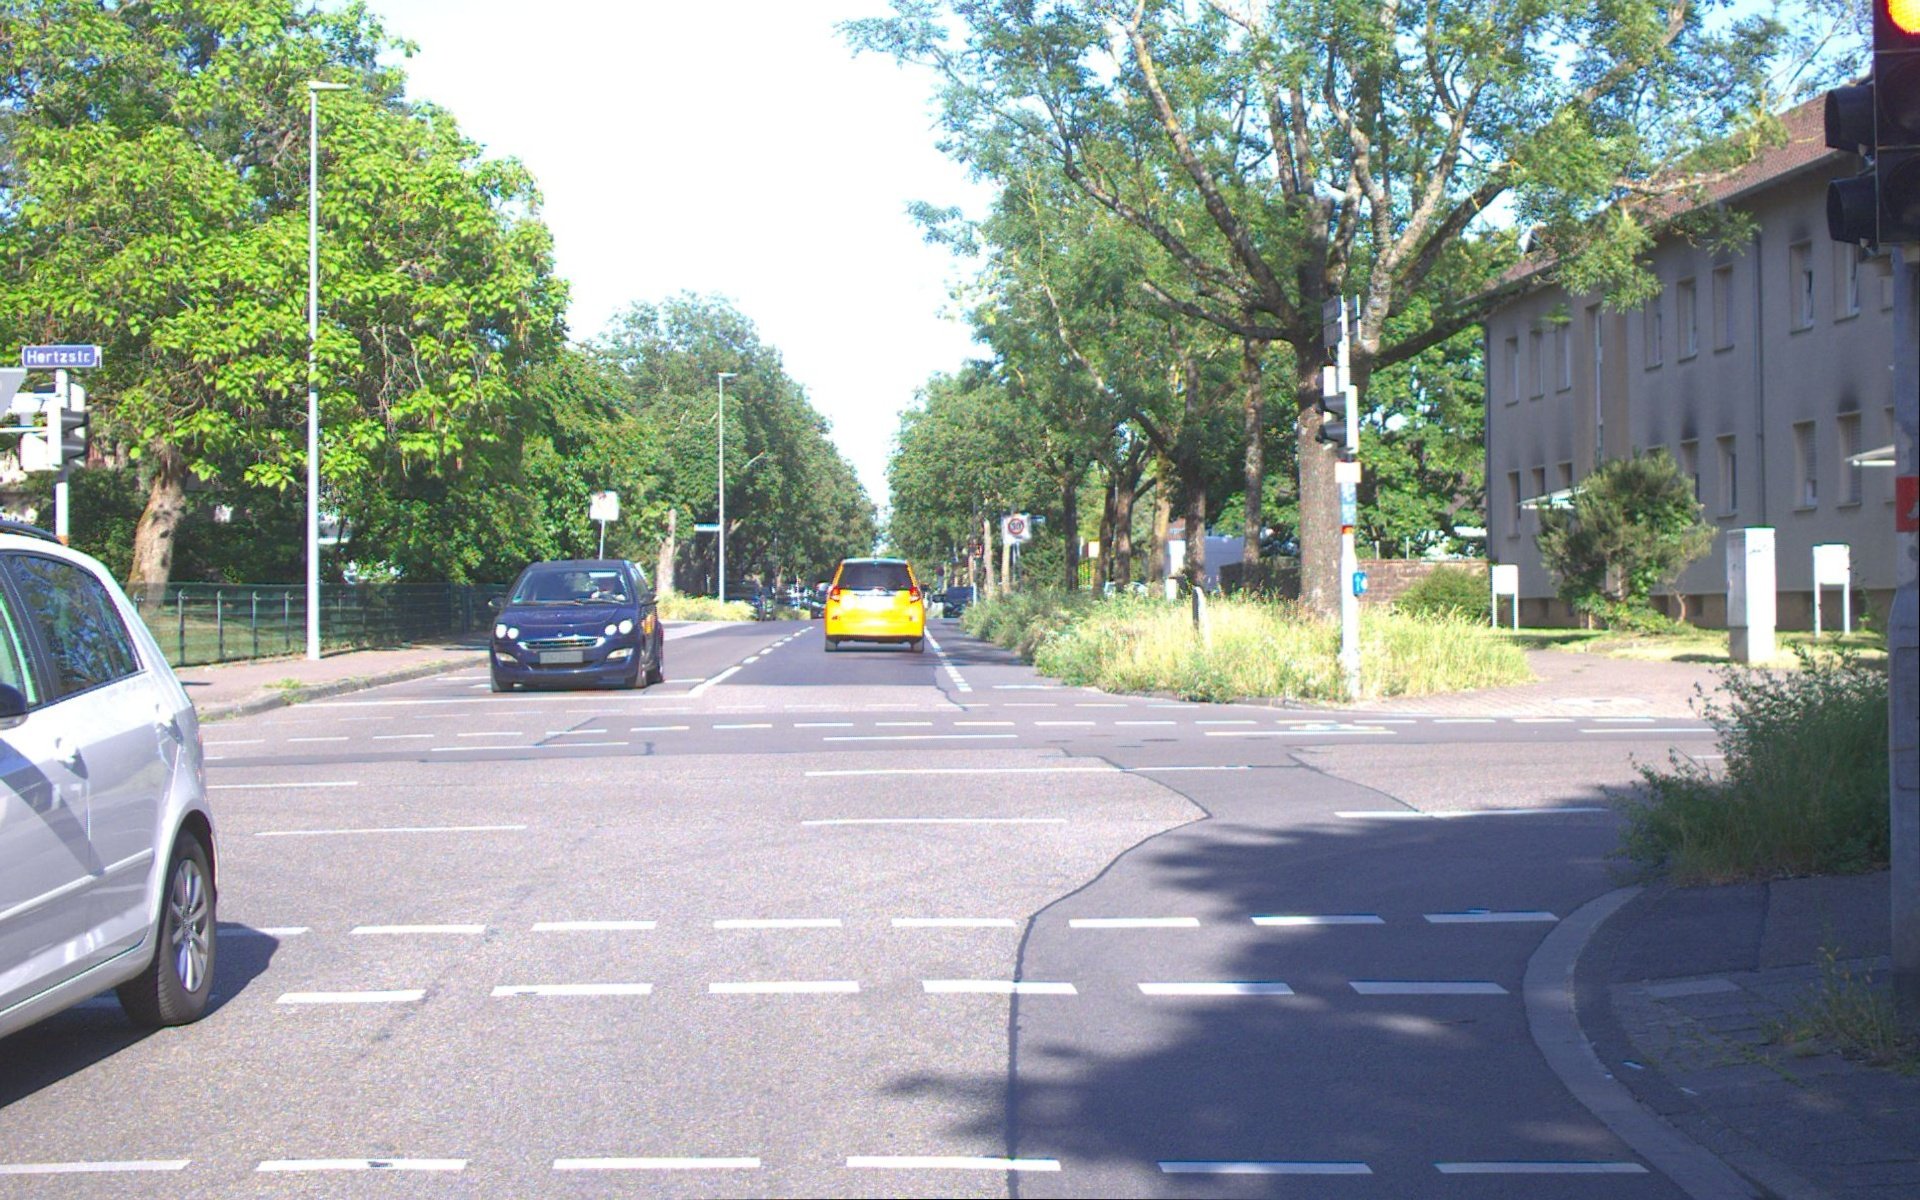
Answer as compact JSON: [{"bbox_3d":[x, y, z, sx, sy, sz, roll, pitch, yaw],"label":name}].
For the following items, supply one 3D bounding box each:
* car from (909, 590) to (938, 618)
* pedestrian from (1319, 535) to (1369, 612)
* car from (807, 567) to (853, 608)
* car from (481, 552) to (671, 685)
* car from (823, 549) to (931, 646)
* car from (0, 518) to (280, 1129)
[{"bbox_3d":[-2.329,0.262,219.230,1.773,1.748,4.000,1,0,0],"label":"car"},{"bbox_3d":[7.608,-0.526,68.173,0.842,1.488,0.924,2,1,-1],"label":"pedestrian"},{"bbox_3d":[-5.360,-0.521,141.785,1.758,1.619,3.268,0,1,0],"label":"car"},{"bbox_3d":[-4.269,0.175,38.606,1.711,1.381,3.471,0,1,0],"label":"car"},{"bbox_3d":[-1.376,-0.060,58.477,1.751,1.577,4.000,1,0,0],"label":"car"},{"bbox_3d":[-3.306,0.591,9.426,1.752,1.558,4.120,-2,1,4],"label":"car"}]
